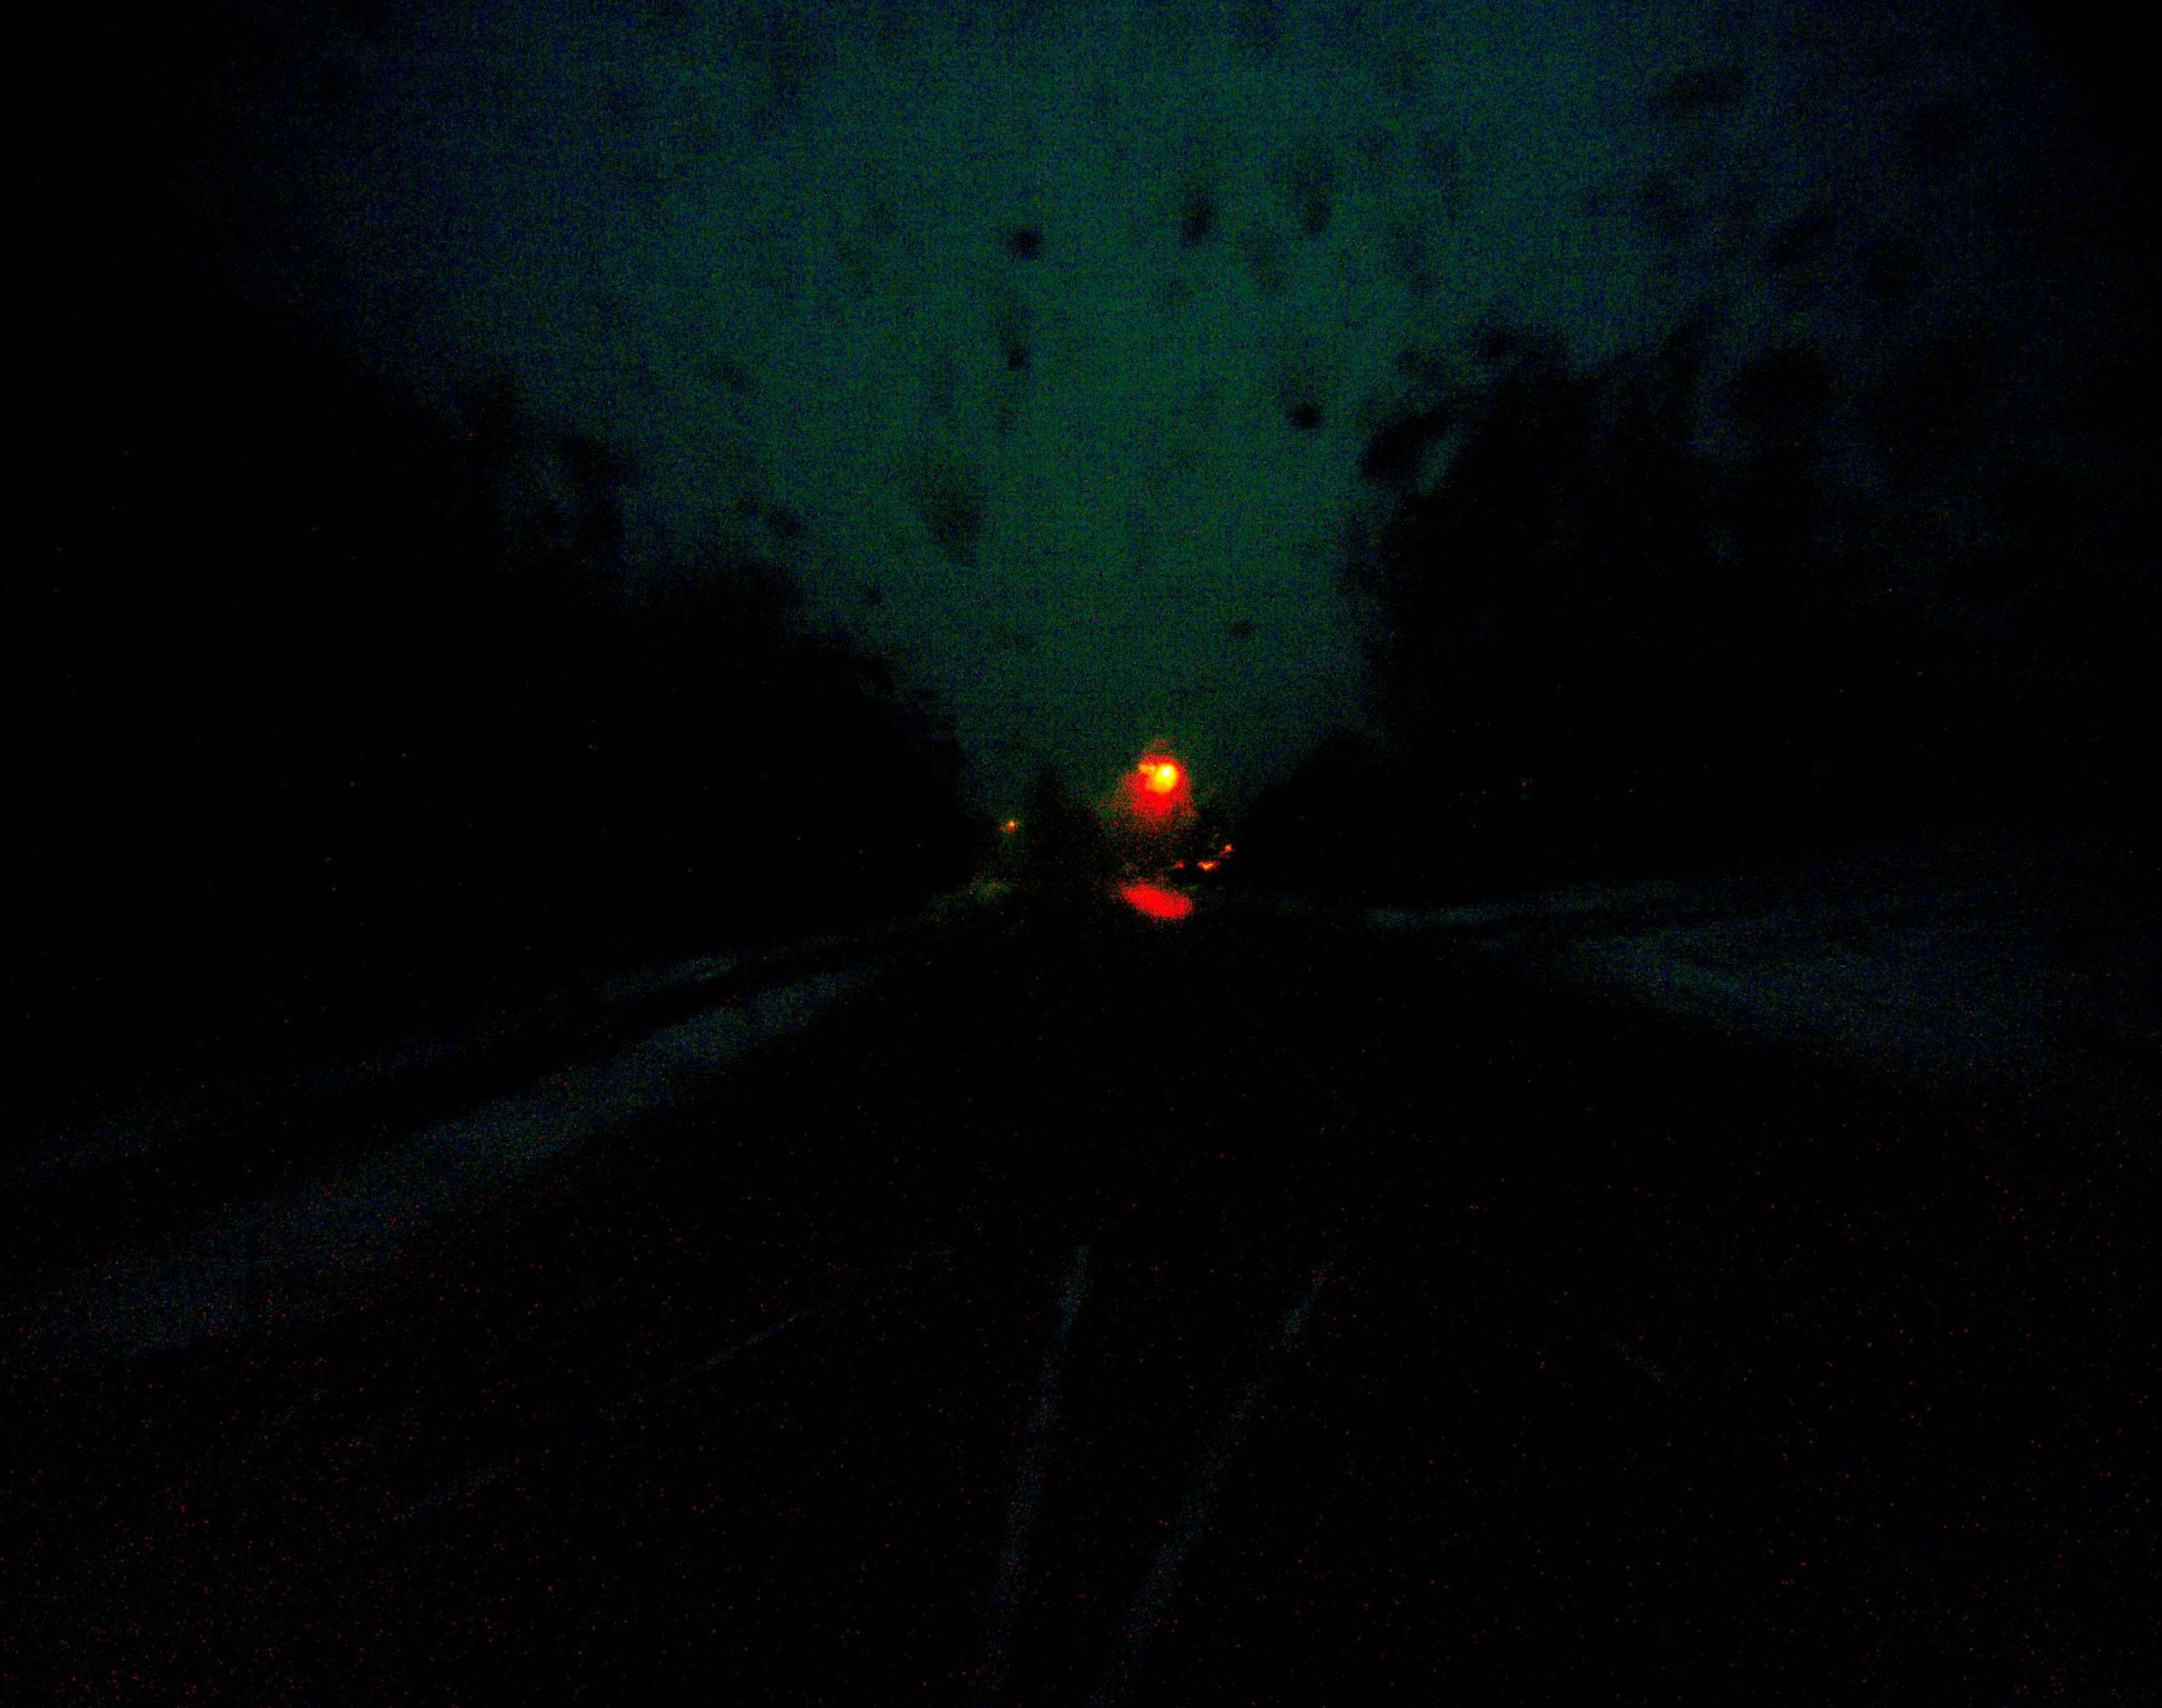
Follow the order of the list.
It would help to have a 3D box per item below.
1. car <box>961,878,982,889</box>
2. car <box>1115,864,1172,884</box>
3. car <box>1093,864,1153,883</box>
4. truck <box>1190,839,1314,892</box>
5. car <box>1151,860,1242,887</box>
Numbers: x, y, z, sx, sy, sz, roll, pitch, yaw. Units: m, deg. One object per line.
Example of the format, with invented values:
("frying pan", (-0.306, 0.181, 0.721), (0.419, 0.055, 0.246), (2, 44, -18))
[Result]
("car", (-17.091, 4.666, 118.753), (1.885, 1.417, 5.385), (-2, -3, -23))
("car", (4.779, 1.525, 58.179), (3.869, 1.462, 1.936), (1, -2, -15))
("car", (3.547, 1.651, 63.868), (4.547, 1.556, 2.108), (1, -2, -20))
("truck", (7.905, 0.551, 35.247), (5.280, 2.288, 1.998), (1, -2, -12))
("car", (6.797, 1.186, 44.991), (4.905, 1.476, 2.122), (1, -2, -12))
